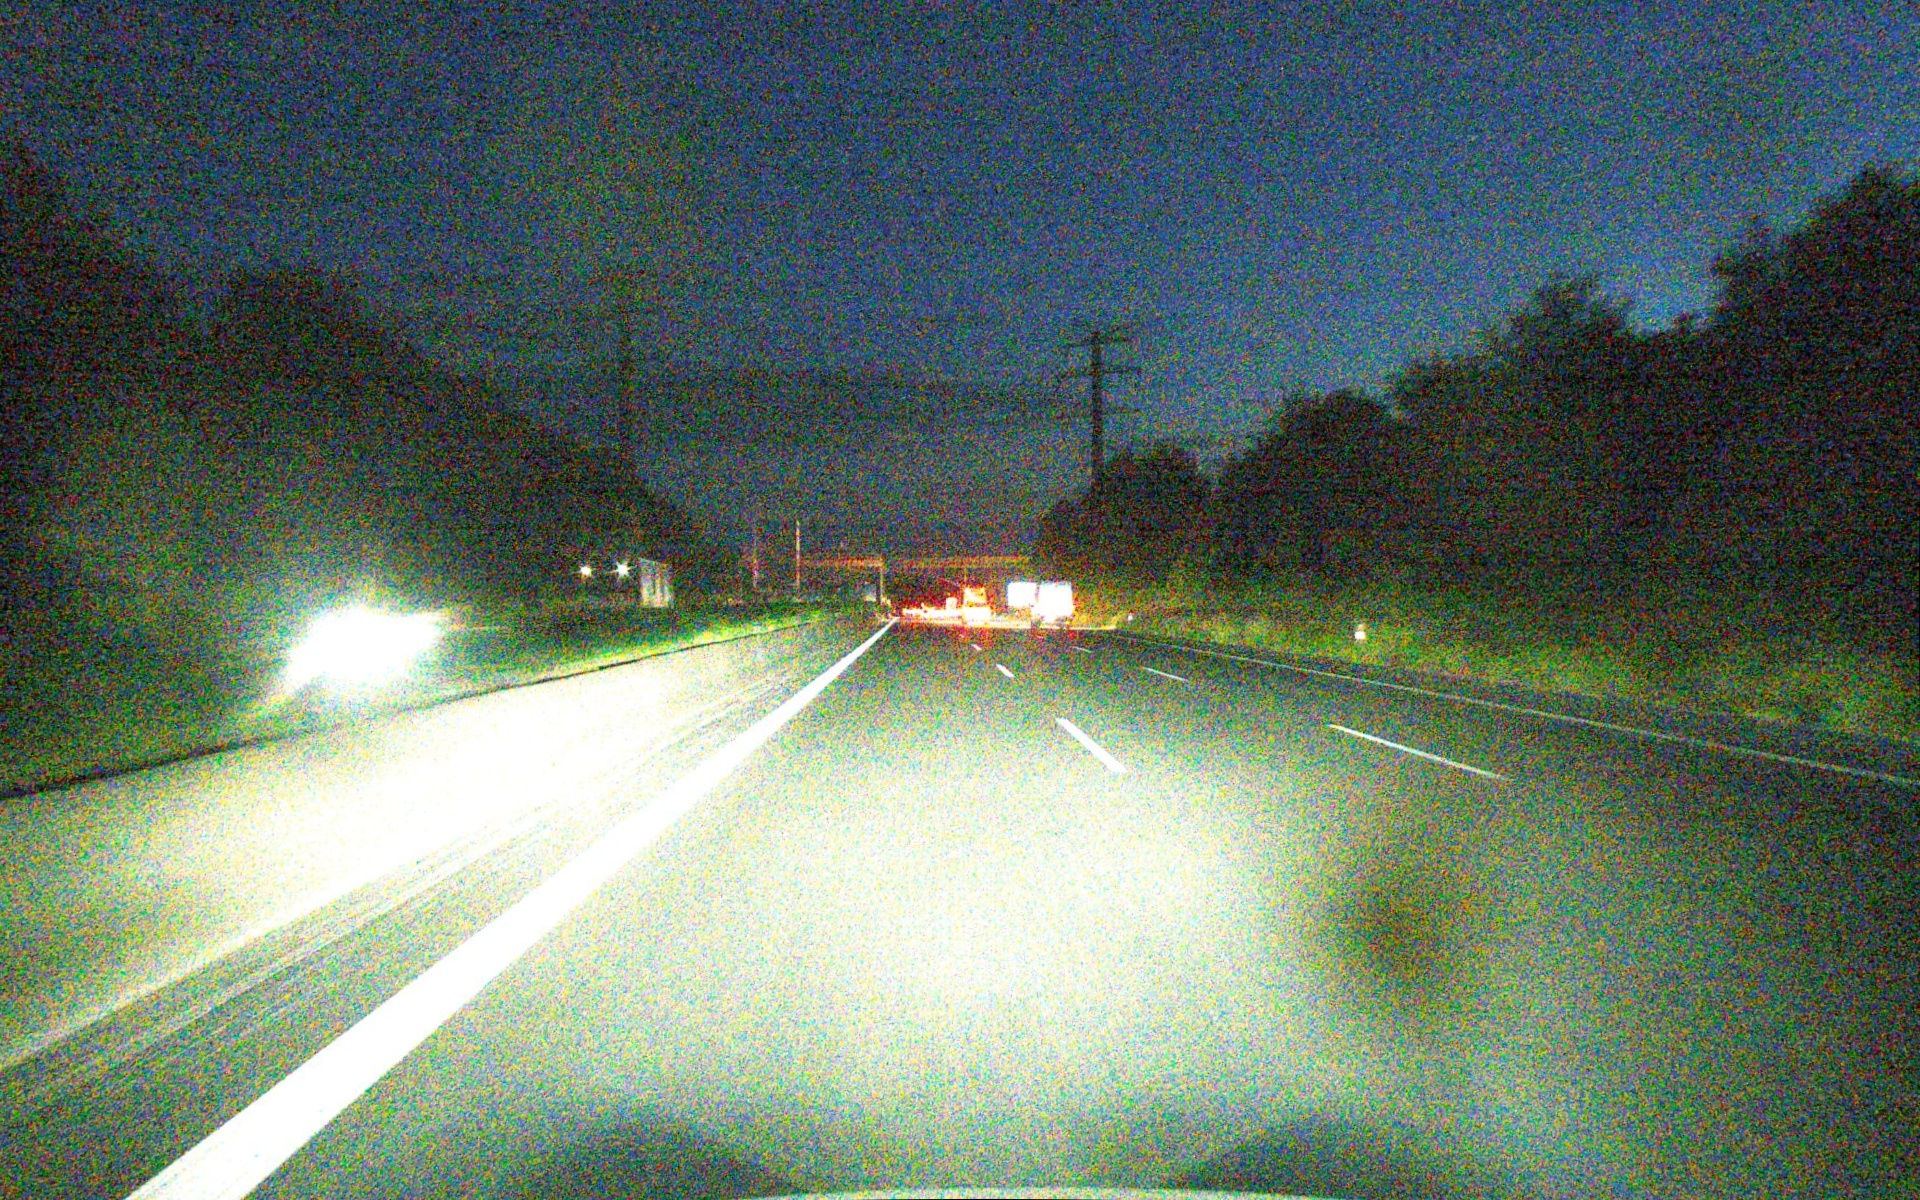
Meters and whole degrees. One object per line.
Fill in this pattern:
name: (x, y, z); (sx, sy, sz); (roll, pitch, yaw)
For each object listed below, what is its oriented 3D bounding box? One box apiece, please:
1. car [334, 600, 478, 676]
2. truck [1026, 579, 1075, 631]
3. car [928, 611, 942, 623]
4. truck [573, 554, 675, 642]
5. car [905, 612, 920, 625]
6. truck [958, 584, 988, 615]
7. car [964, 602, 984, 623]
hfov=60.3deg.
car: (-12.373, 0.800, 37.269); (1.715, 1.504, 4.751); (-2, 1, -2)
truck: (5.109, 0.354, 94.424); (2.035, 2.738, 7.303); (1, -2, -3)
car: (-3.341, 2.229, 219.907); (1.784, 1.492, 4.247); (1, 1, -1)
truck: (-18.072, -0.177, 90.308); (3.052, 4.276, 16.966); (-2, 1, -4)
car: (-5.965, 2.268, 206.461); (1.784, 1.492, 4.247); (1, 1, -1)
truck: (1.417, -0.103, 183.990); (2.982, 3.383, 10.140); (1, 1, -1)
car: (0.964, 0.863, 114.729); (1.319, 1.411, 3.501); (1, 1, -1)
